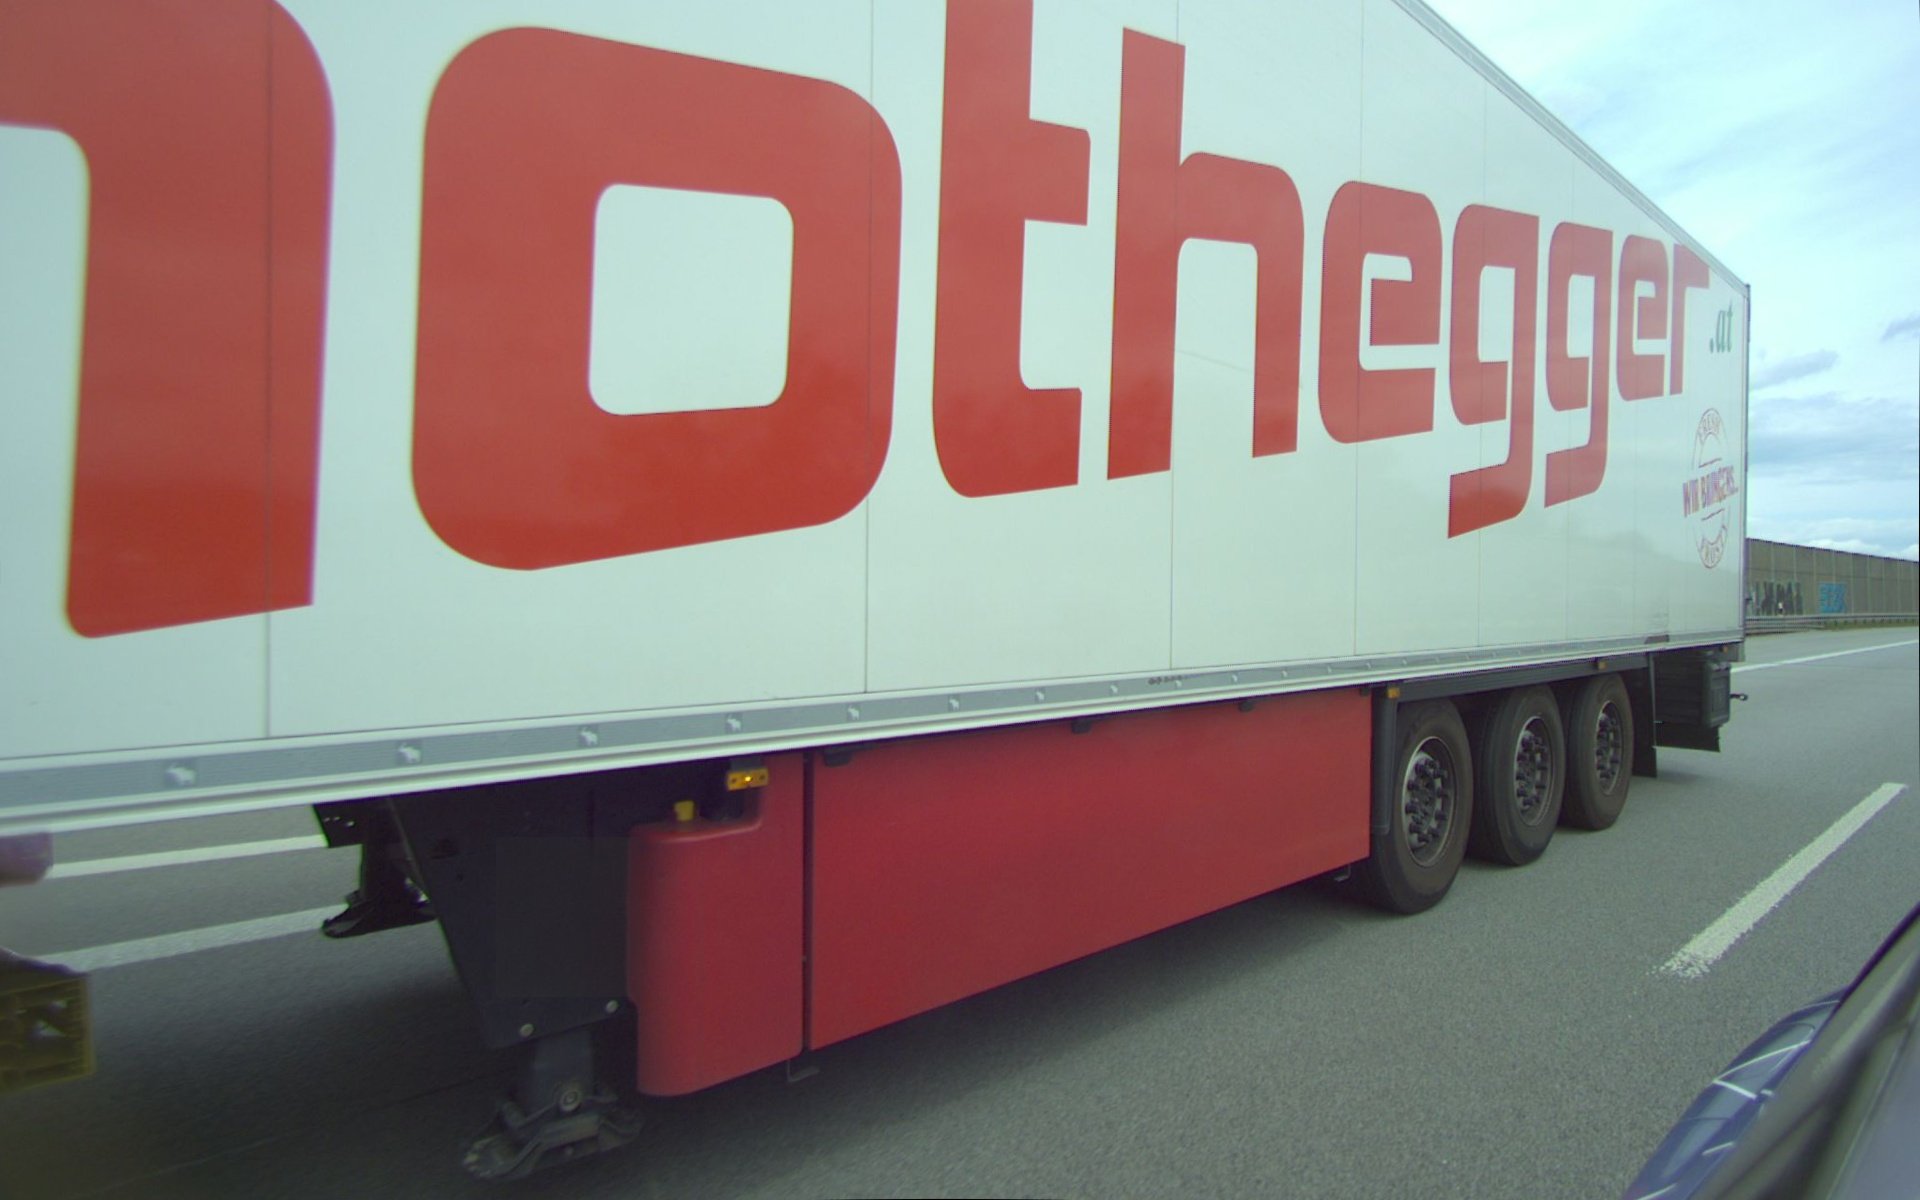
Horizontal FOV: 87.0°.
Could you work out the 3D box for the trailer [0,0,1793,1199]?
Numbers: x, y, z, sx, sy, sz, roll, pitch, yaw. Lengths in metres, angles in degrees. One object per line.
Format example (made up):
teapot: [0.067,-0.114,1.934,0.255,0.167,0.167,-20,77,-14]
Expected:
trailer: [0.816,-0.767,4.923,13.857,4.227,2.797,0,0,-41]
